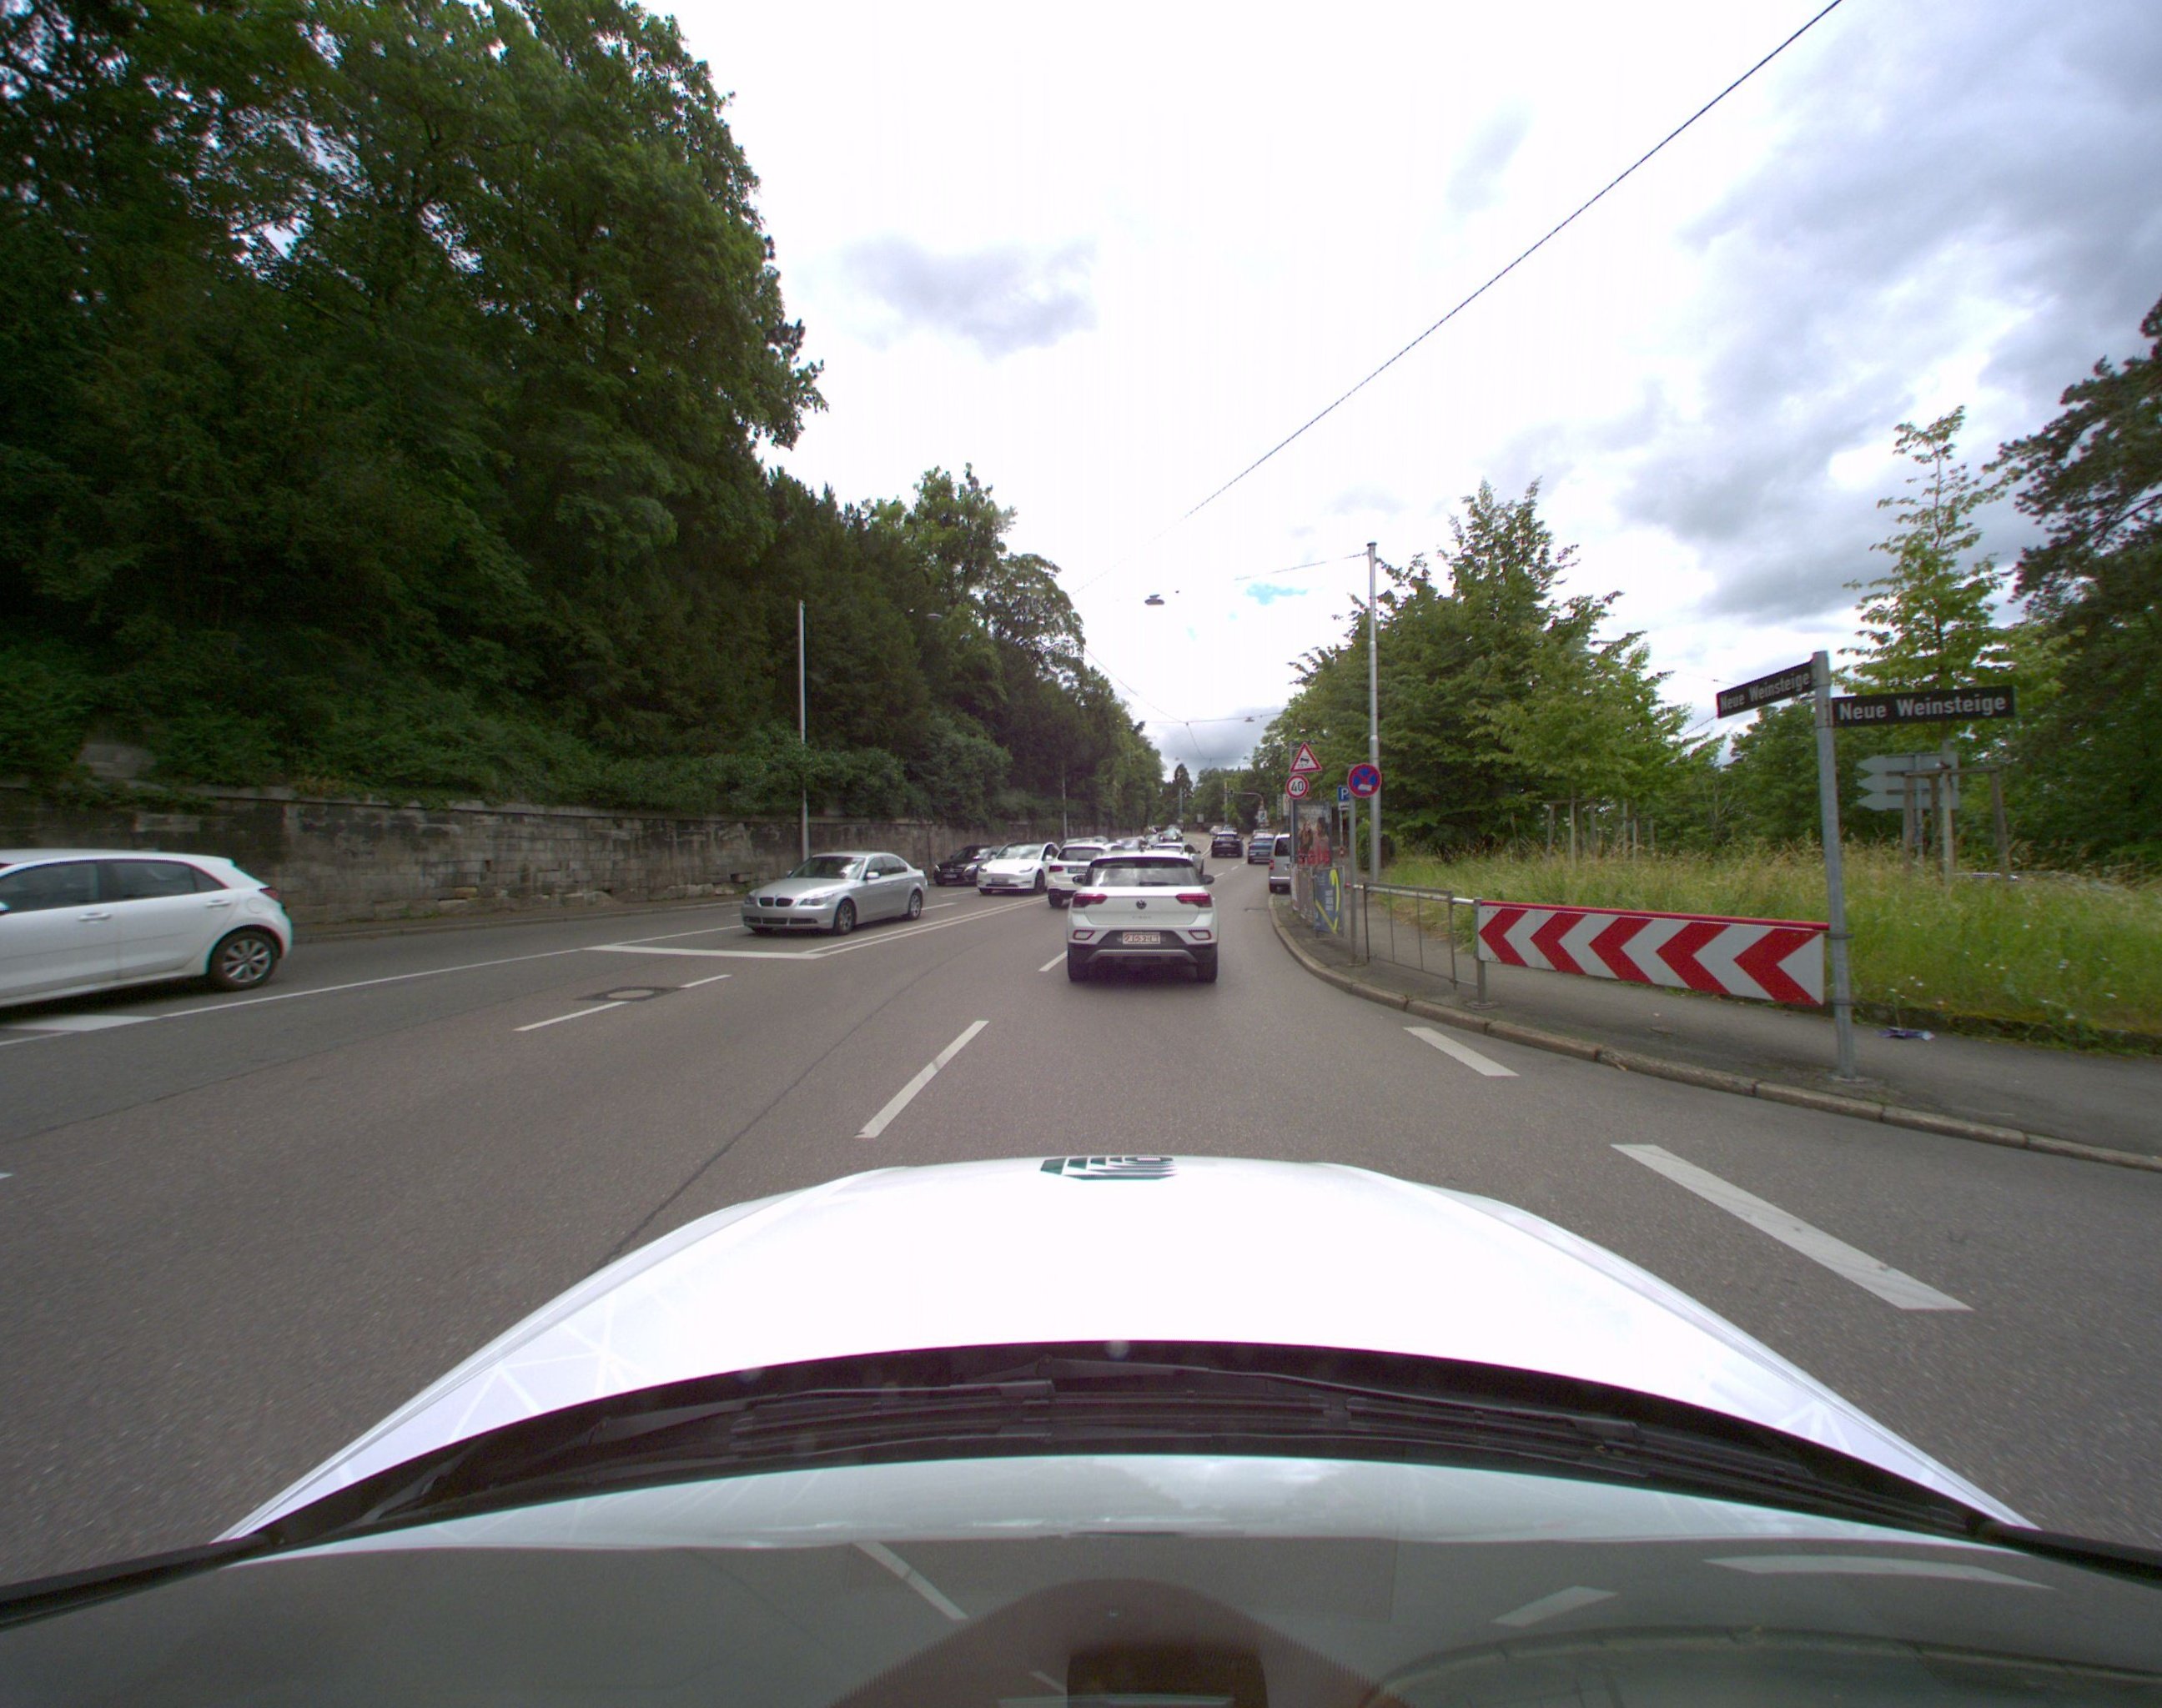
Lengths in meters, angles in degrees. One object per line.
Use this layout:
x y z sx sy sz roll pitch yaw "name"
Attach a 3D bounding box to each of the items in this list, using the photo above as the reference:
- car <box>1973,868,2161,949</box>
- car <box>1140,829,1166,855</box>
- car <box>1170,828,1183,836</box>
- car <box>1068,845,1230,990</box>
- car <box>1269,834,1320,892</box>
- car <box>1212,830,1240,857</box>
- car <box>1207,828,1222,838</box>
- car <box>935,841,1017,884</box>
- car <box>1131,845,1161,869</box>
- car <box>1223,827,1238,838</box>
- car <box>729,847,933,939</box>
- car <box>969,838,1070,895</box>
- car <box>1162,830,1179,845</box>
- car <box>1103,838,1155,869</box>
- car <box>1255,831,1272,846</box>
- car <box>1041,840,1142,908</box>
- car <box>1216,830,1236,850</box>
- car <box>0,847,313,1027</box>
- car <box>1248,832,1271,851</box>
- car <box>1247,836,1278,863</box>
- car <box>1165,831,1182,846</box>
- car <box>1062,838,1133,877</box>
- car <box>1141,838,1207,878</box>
21.032 1.040 16.659 1.705 1.485 4.013 -1 -2 12 "car"
5.881 -0.967 66.394 1.722 2.013 3.944 -1 1 11 "car"
17.571 -4.068 150.266 1.645 1.450 3.538 -1 1 -7 "car"
0.718 0.675 11.121 1.749 1.552 4.335 -1 0 -1 "car"
6.798 0.242 26.091 1.484 1.749 3.129 -1 1 13 "car"
9.620 -0.724 54.355 1.777 1.636 3.747 0 2 9 "car"
20.462 -3.239 124.749 1.641 1.450 3.547 -1 1 0 "car"
-3.897 0.278 30.975 1.701 1.487 3.986 0 1 15 "car"
4.399 0.194 54.527 1.640 1.517 3.862 0 0 10 "car"
20.483 -3.001 111.681 1.640 1.450 3.549 -1 1 2 "car"
-4.633 0.629 15.902 1.744 1.442 4.496 1 1 13 "car"
-1.862 0.332 26.215 1.980 1.636 4.413 1 1 12 "car"
9.336 -1.773 84.679 1.638 1.450 3.554 -1 2 7 "car"
2.461 -0.065 40.764 1.804 1.440 4.079 0 2 15 "car"
17.503 -1.536 78.191 1.489 1.327 3.868 0 2 12 "car"
0.416 0.440 21.900 1.846 1.605 4.687 0 1 12 "car"
13.831 -1.363 77.915 1.625 1.819 4.009 -3 0 7 "car"
-9.559 0.683 7.150 1.631 1.405 4.069 1 1 3 "car"
13.553 -0.971 61.992 1.617 1.340 3.868 0 2 12 "car"
10.248 -0.282 46.072 1.617 1.419 3.868 0 2 11 "car"
10.724 -1.788 94.152 1.748 1.707 3.832 -1 1 8 "car"
0.797 0.093 35.107 1.879 1.567 4.499 1 1 17 "car"
3.935 0.112 33.798 1.850 1.534 4.798 0 1 17 "car"
